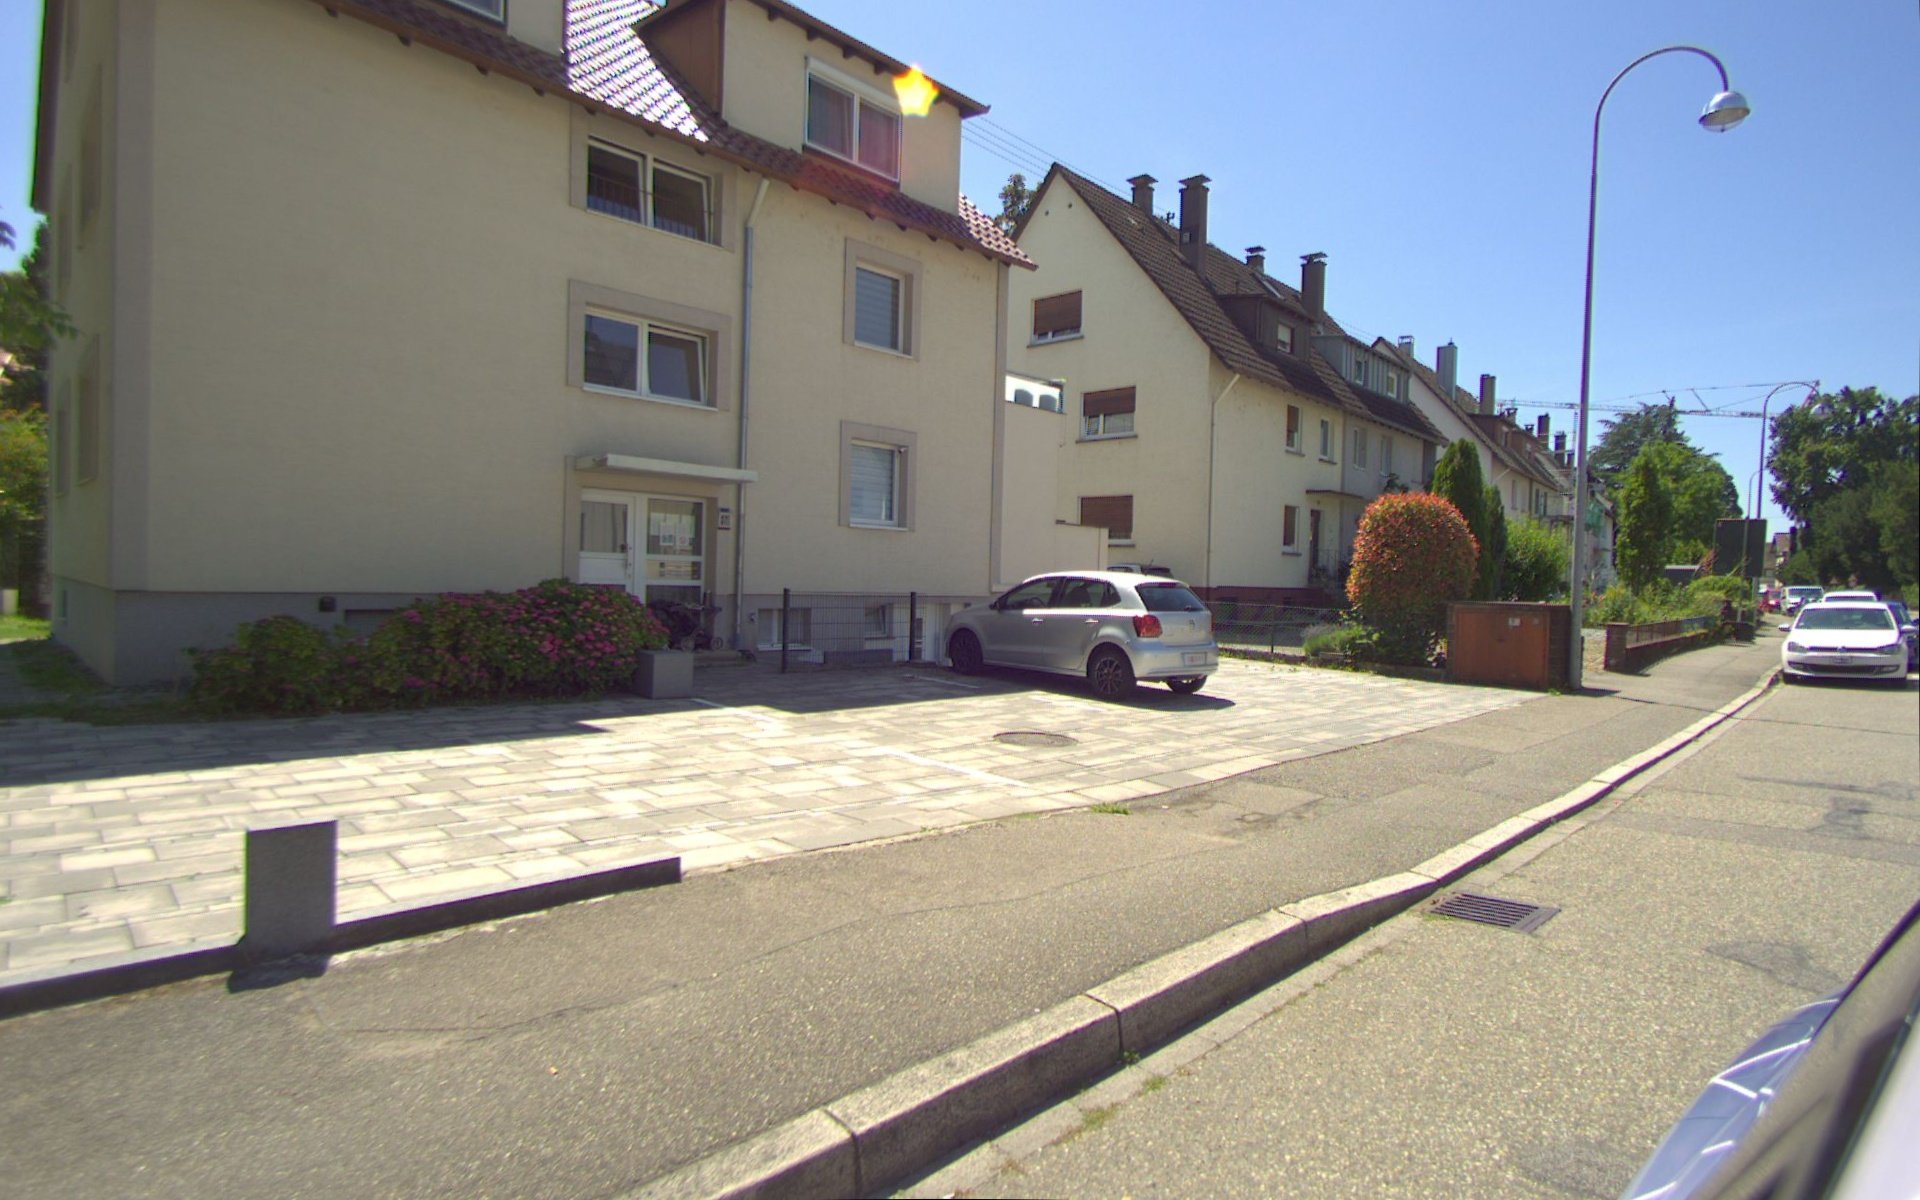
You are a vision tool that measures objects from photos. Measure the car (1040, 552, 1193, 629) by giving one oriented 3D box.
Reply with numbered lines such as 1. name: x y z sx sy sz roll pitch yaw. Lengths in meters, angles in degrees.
1. car: 3.627 -0.262 23.688 3.148 1.571 1.546 5 3 42

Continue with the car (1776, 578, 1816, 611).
1. car: 46.337 -0.323 56.057 1.682 1.802 3.883 0 1 40

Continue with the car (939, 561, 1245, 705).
1. car: 1.550 0.340 12.840 1.747 1.549 3.625 0 0 -41

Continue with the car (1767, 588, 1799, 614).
1. car: 59.327 0.017 72.926 1.682 1.802 3.883 0 1 40

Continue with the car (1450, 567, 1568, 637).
1. car: 15.968 0.012 29.345 1.917 1.873 4.460 2 2 43

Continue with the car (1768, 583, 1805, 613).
1. car: 51.027 -0.130 62.468 1.682 1.802 3.883 0 1 40

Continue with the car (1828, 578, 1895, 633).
1. car: 33.256 0.186 37.375 1.682 1.802 3.882 -4 -1 42

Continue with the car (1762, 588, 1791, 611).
1. car: 65.127 -0.083 80.768 1.680 1.802 3.887 0 1 38

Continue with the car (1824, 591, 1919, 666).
1. car: 20.409 0.563 22.441 1.684 1.472 4.294 1 1 43

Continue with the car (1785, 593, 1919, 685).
1. car: 16.125 0.623 18.250 1.684 1.473 3.681 1 1 43
